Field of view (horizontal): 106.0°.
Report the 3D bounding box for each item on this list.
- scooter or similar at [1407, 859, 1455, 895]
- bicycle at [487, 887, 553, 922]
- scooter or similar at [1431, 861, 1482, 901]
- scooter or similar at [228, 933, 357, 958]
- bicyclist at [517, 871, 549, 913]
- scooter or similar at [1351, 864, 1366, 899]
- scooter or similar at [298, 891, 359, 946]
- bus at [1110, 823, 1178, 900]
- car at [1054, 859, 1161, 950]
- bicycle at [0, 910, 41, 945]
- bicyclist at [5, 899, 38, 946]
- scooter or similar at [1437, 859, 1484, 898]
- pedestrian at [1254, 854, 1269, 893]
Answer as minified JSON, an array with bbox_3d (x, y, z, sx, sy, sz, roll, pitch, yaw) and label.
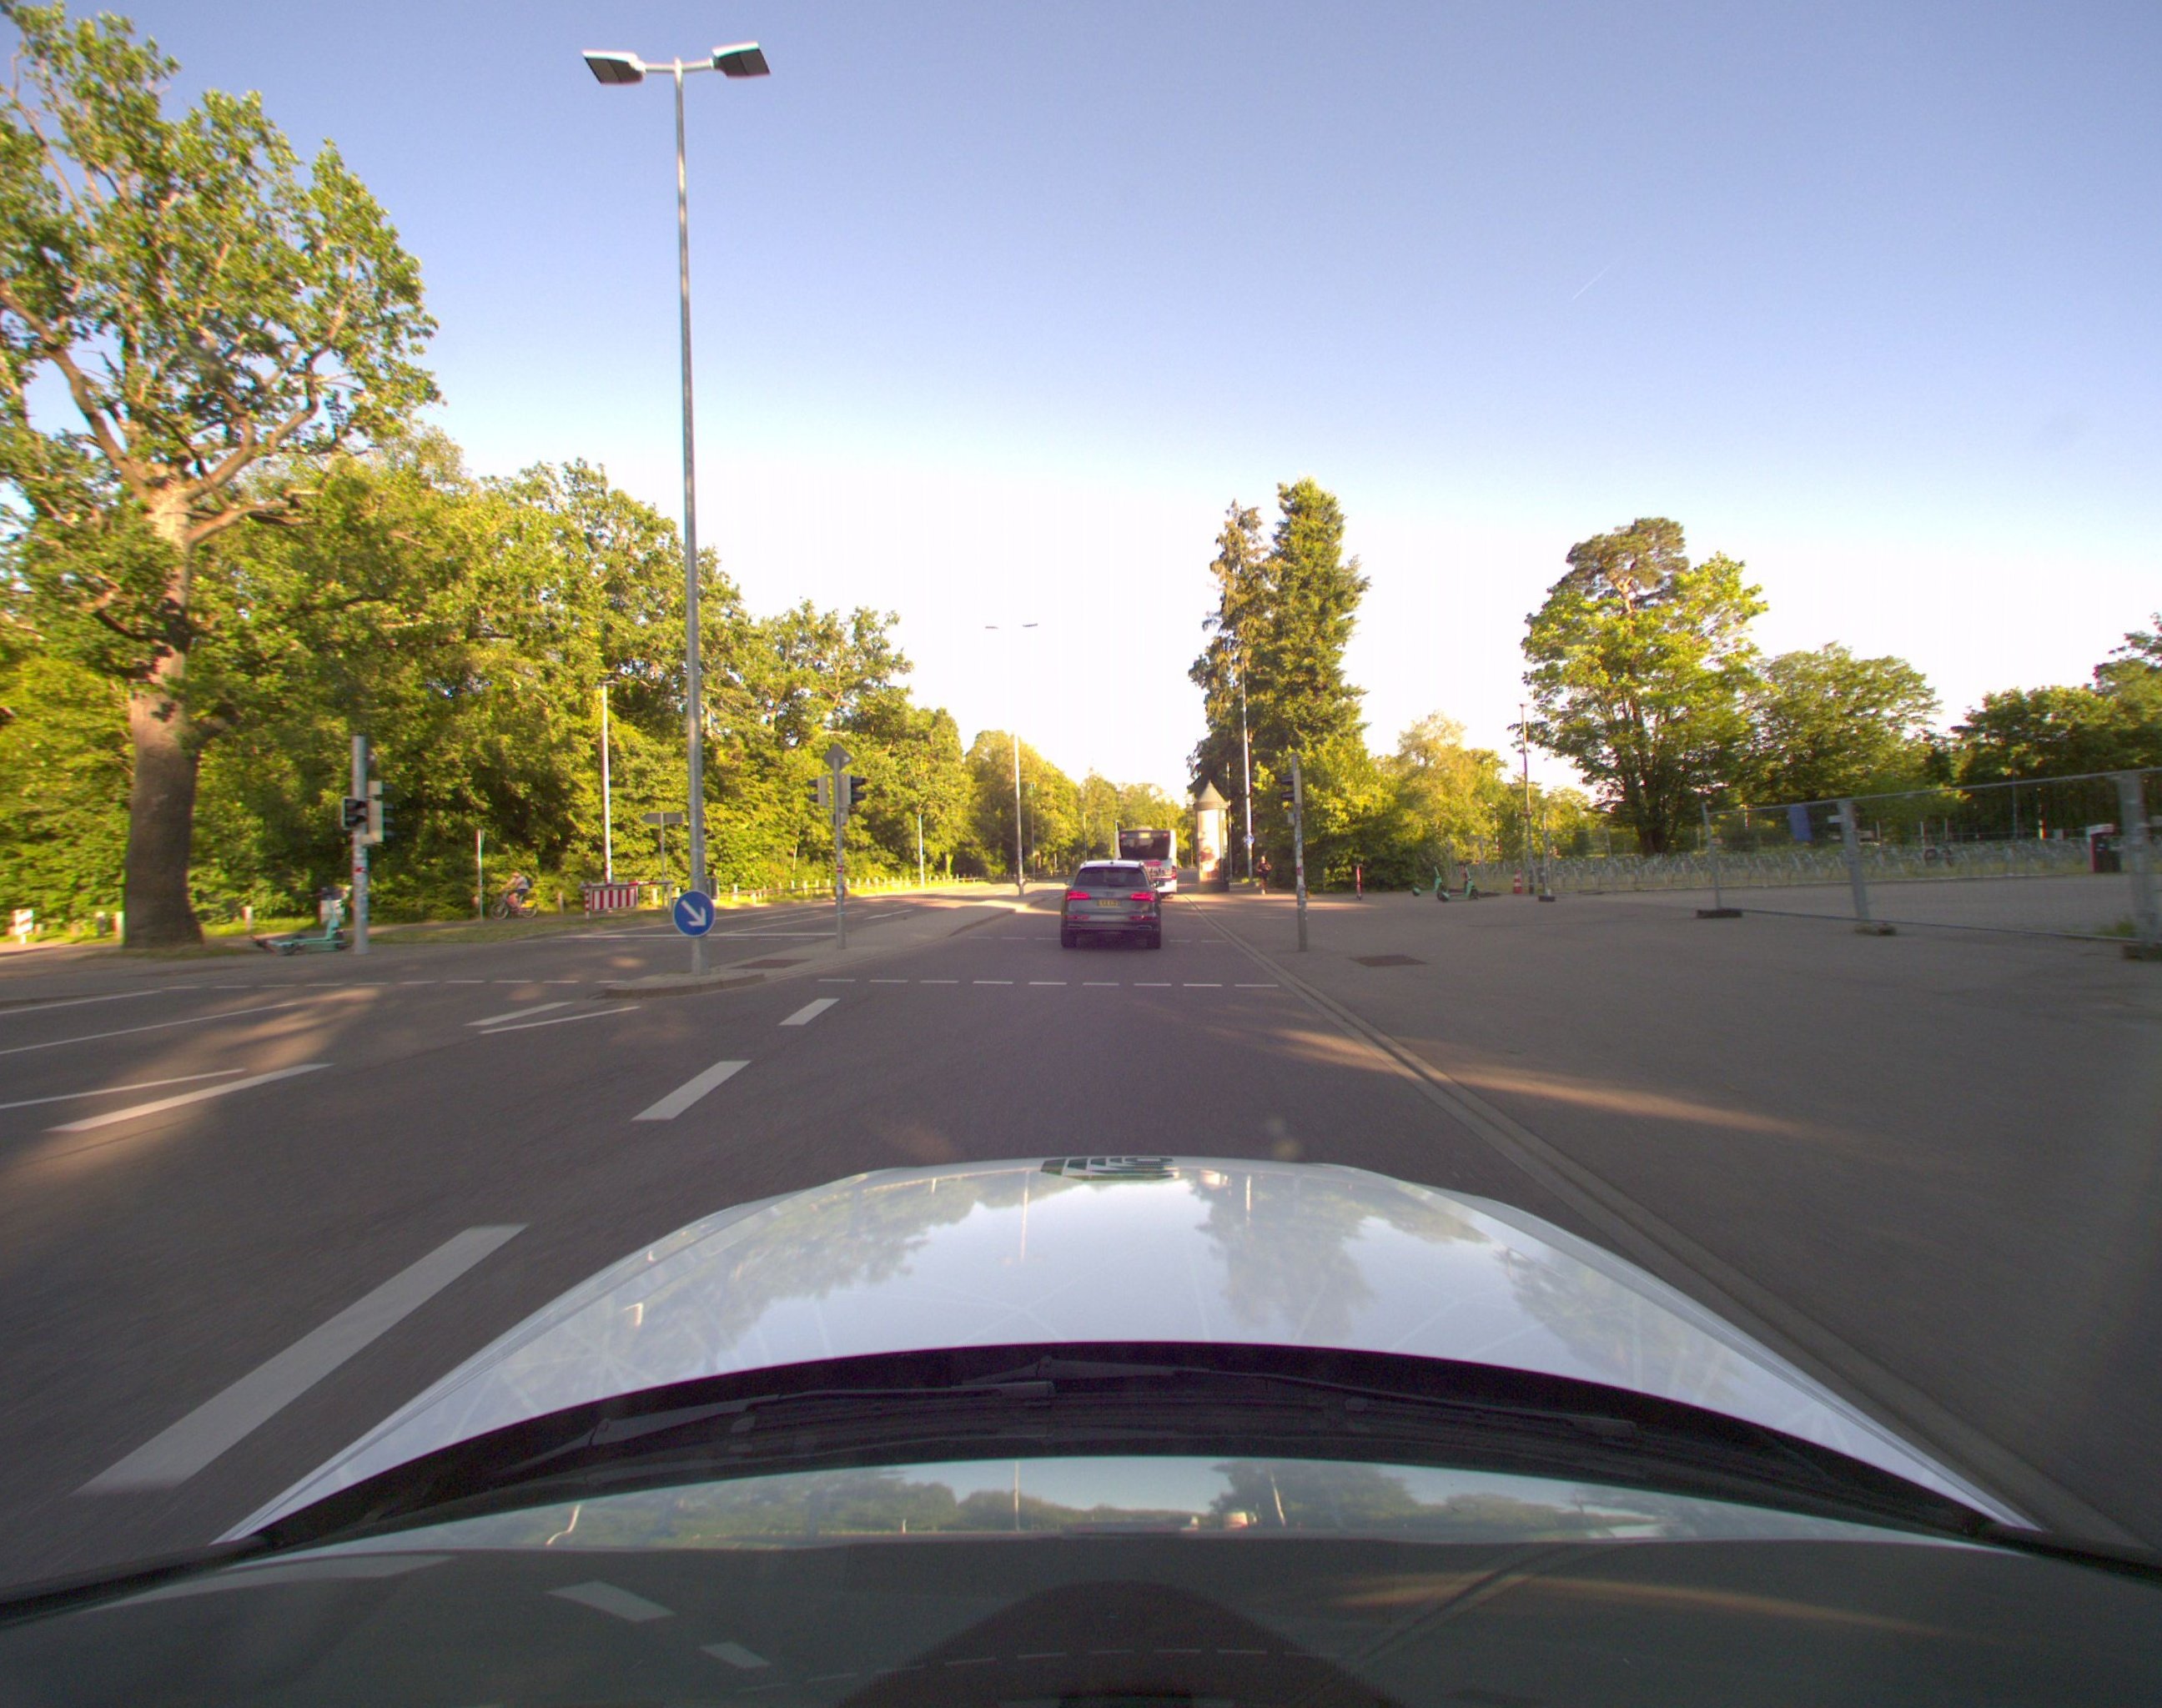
[{"bbox_3d":[12.133,0.804,28.257,1.424,1.167,0.396,-4,-3,32],"label":"scooter or similar"},{"bbox_3d":[-21.233,1.893,30.891,0.674,1.154,1.995,-1,1,21],"label":"bicycle"},{"bbox_3d":[11.384,0.820,24.703,1.257,1.147,0.395,-4,-3,10],"label":"scooter or similar"},{"bbox_3d":[-15.768,1.832,16.326,1.398,0.339,1.264,-2,0,11],"label":"scooter or similar"},{"bbox_3d":[-21.073,1.448,31.329,0.557,1.551,0.804,-1,1,21],"label":"bicyclist"},{"bbox_3d":[9.596,0.932,28.173,0.279,1.171,1.413,-3,-1,12],"label":"scooter or similar"},{"bbox_3d":[-16.425,1.410,17.781,1.060,1.146,0.395,-2,0,10],"label":"scooter or similar"},{"bbox_3d":[2.782,0.380,38.195,2.679,3.043,12.048,0,-1,3],"label":"bus"},{"bbox_3d":[0.575,0.919,16.666,1.885,1.605,4.547,0,-1,3],"label":"car"},{"bbox_3d":[-33.383,2.299,25.652,0.525,0.977,1.339,1,-1,-41],"label":"bicycle"},{"bbox_3d":[-33.376,2.146,25.651,0.522,1.400,0.523,1,-2,-42],"label":"bicyclist"},{"bbox_3d":[11.760,0.769,25.227,1.232,1.167,0.396,-3,-3,28],"label":"scooter or similar"},{"bbox_3d":[7.885,0.835,35.644,0.621,1.688,0.886,0,-1,13],"label":"pedestrian"}]
